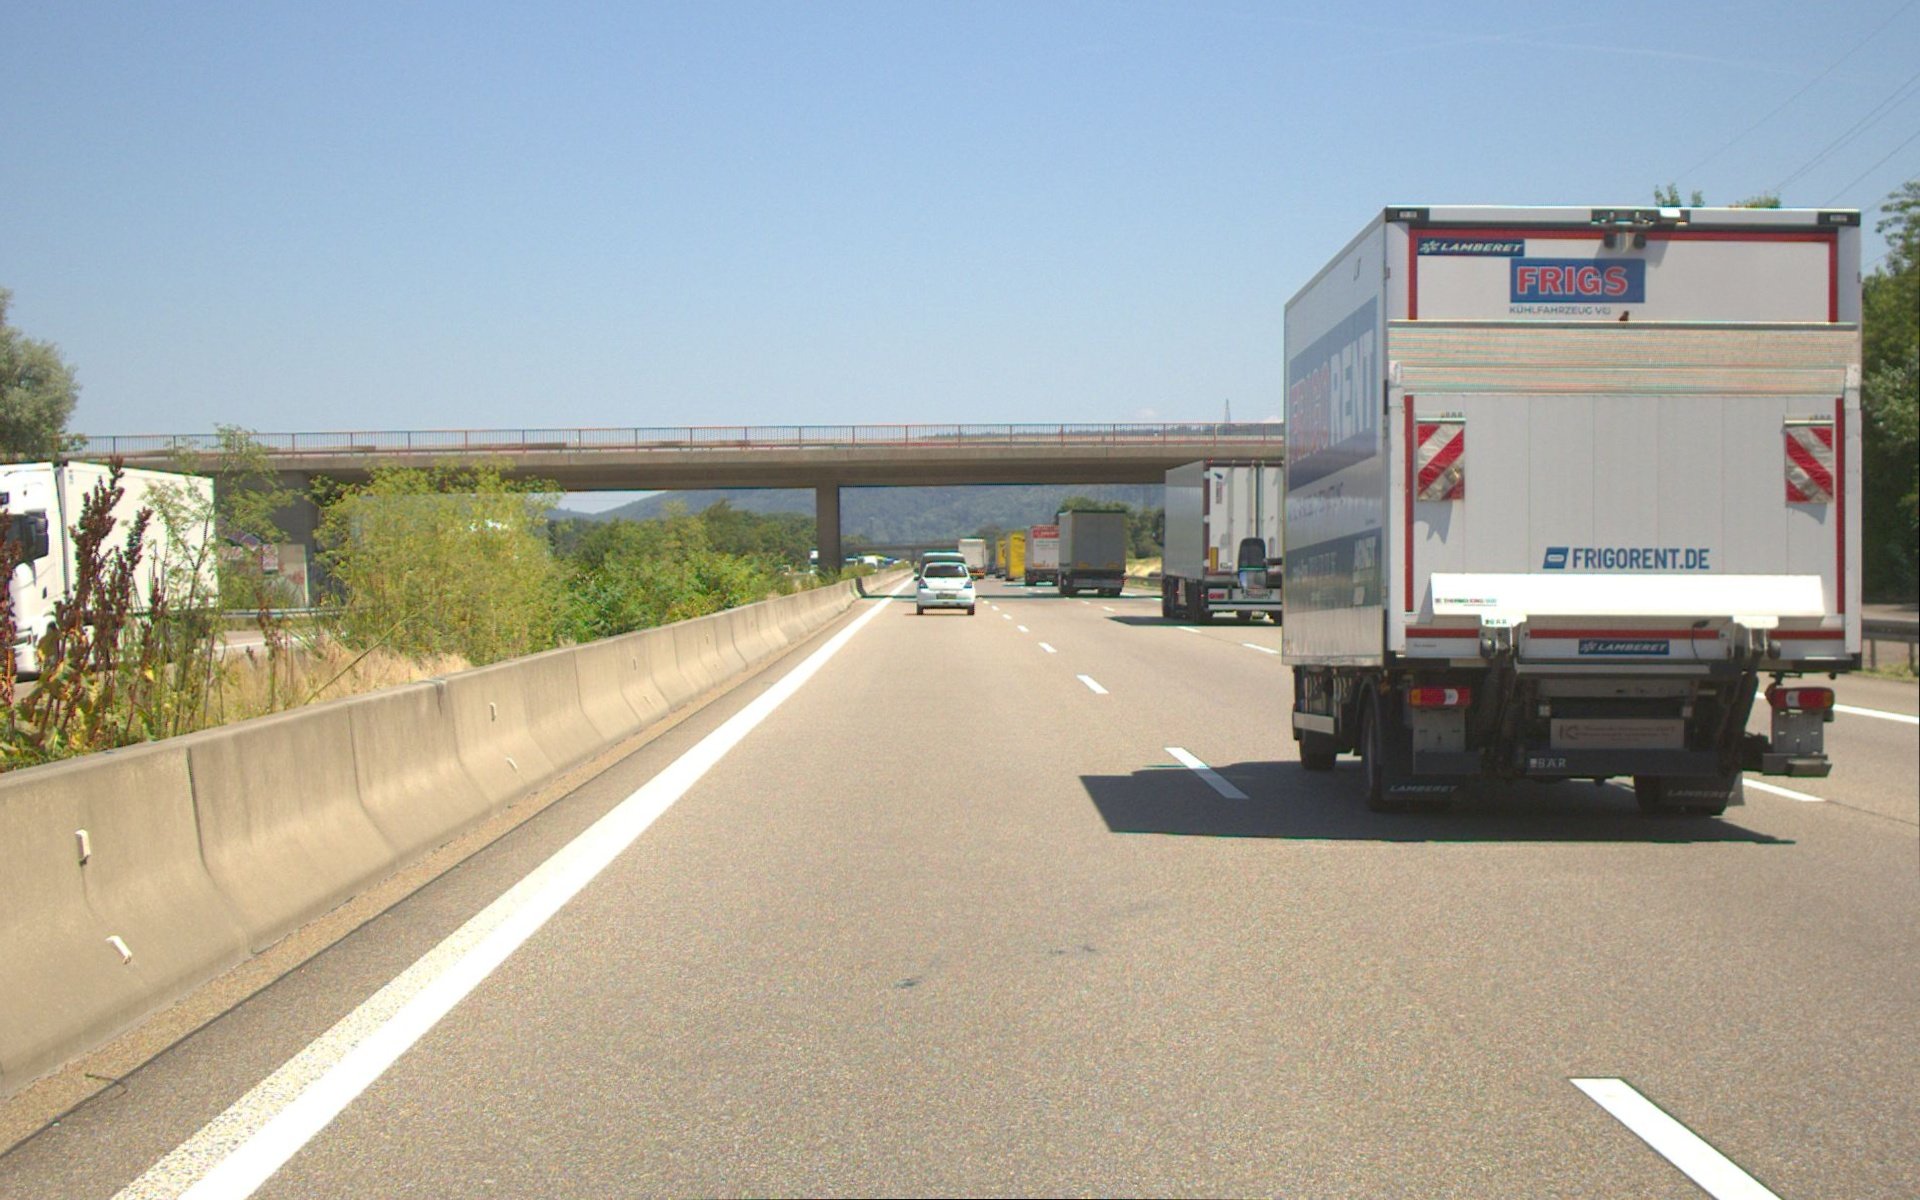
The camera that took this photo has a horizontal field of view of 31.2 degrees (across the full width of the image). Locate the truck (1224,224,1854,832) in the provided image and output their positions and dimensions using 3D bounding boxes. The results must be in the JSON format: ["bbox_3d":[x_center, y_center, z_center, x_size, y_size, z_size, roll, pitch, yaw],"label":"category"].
[{"bbox_3d":[3.533,-0.443,23.204,2.782,3.361,8.128,0,1,-1],"label":"truck"}]

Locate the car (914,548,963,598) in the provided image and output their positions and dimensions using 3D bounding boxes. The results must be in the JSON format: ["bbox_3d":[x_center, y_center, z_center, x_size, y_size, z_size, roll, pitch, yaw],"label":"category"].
[{"bbox_3d":[-0.807,-1.057,131.225,1.761,1.844,4.000,-1,1,1],"label":"car"}]

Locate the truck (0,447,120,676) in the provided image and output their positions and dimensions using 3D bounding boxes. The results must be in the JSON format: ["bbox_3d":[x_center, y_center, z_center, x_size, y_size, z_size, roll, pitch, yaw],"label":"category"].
[{"bbox_3d":[-17.500,-0.690,63.180,2.680,4.001,5.756,-2,1,-1],"label":"truck"}]

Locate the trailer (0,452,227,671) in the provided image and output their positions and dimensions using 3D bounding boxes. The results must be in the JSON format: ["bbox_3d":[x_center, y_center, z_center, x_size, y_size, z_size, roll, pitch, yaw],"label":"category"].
[{"bbox_3d":[-17.627,-0.791,70.066,2.694,4.001,12.968,-2,1,-1],"label":"trailer"}]

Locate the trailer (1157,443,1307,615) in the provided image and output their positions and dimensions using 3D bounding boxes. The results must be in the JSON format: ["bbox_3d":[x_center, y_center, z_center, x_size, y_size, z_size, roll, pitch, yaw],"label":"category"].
[{"bbox_3d":[6.984,-1.816,90.211,2.795,4.149,13.956,0,1,0],"label":"trailer"}]

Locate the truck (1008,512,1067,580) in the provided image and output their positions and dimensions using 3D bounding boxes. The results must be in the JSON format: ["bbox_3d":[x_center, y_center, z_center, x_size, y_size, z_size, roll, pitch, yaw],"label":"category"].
[{"bbox_3d":[5.276,-3.683,235.723,3.520,4.401,14.592,-1,1,0],"label":"truck"}]

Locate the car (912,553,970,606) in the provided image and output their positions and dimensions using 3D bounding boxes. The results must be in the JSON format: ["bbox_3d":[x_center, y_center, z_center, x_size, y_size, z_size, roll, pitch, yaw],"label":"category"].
[{"bbox_3d":[-0.543,-0.614,99.911,1.607,1.462,4.000,-1,1,1],"label":"car"}]

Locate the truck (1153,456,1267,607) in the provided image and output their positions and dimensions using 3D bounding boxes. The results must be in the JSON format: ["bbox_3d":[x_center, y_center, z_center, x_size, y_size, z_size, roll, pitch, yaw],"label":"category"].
[{"bbox_3d":[6.995,-1.914,96.984,2.795,4.149,5.723,0,1,0],"label":"truck"}]

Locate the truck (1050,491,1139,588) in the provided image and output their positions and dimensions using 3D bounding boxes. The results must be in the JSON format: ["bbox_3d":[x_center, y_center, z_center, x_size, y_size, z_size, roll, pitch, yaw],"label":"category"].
[{"bbox_3d":[6.409,-2.885,166.579,3.520,4.401,14.592,-1,1,0],"label":"truck"}]
